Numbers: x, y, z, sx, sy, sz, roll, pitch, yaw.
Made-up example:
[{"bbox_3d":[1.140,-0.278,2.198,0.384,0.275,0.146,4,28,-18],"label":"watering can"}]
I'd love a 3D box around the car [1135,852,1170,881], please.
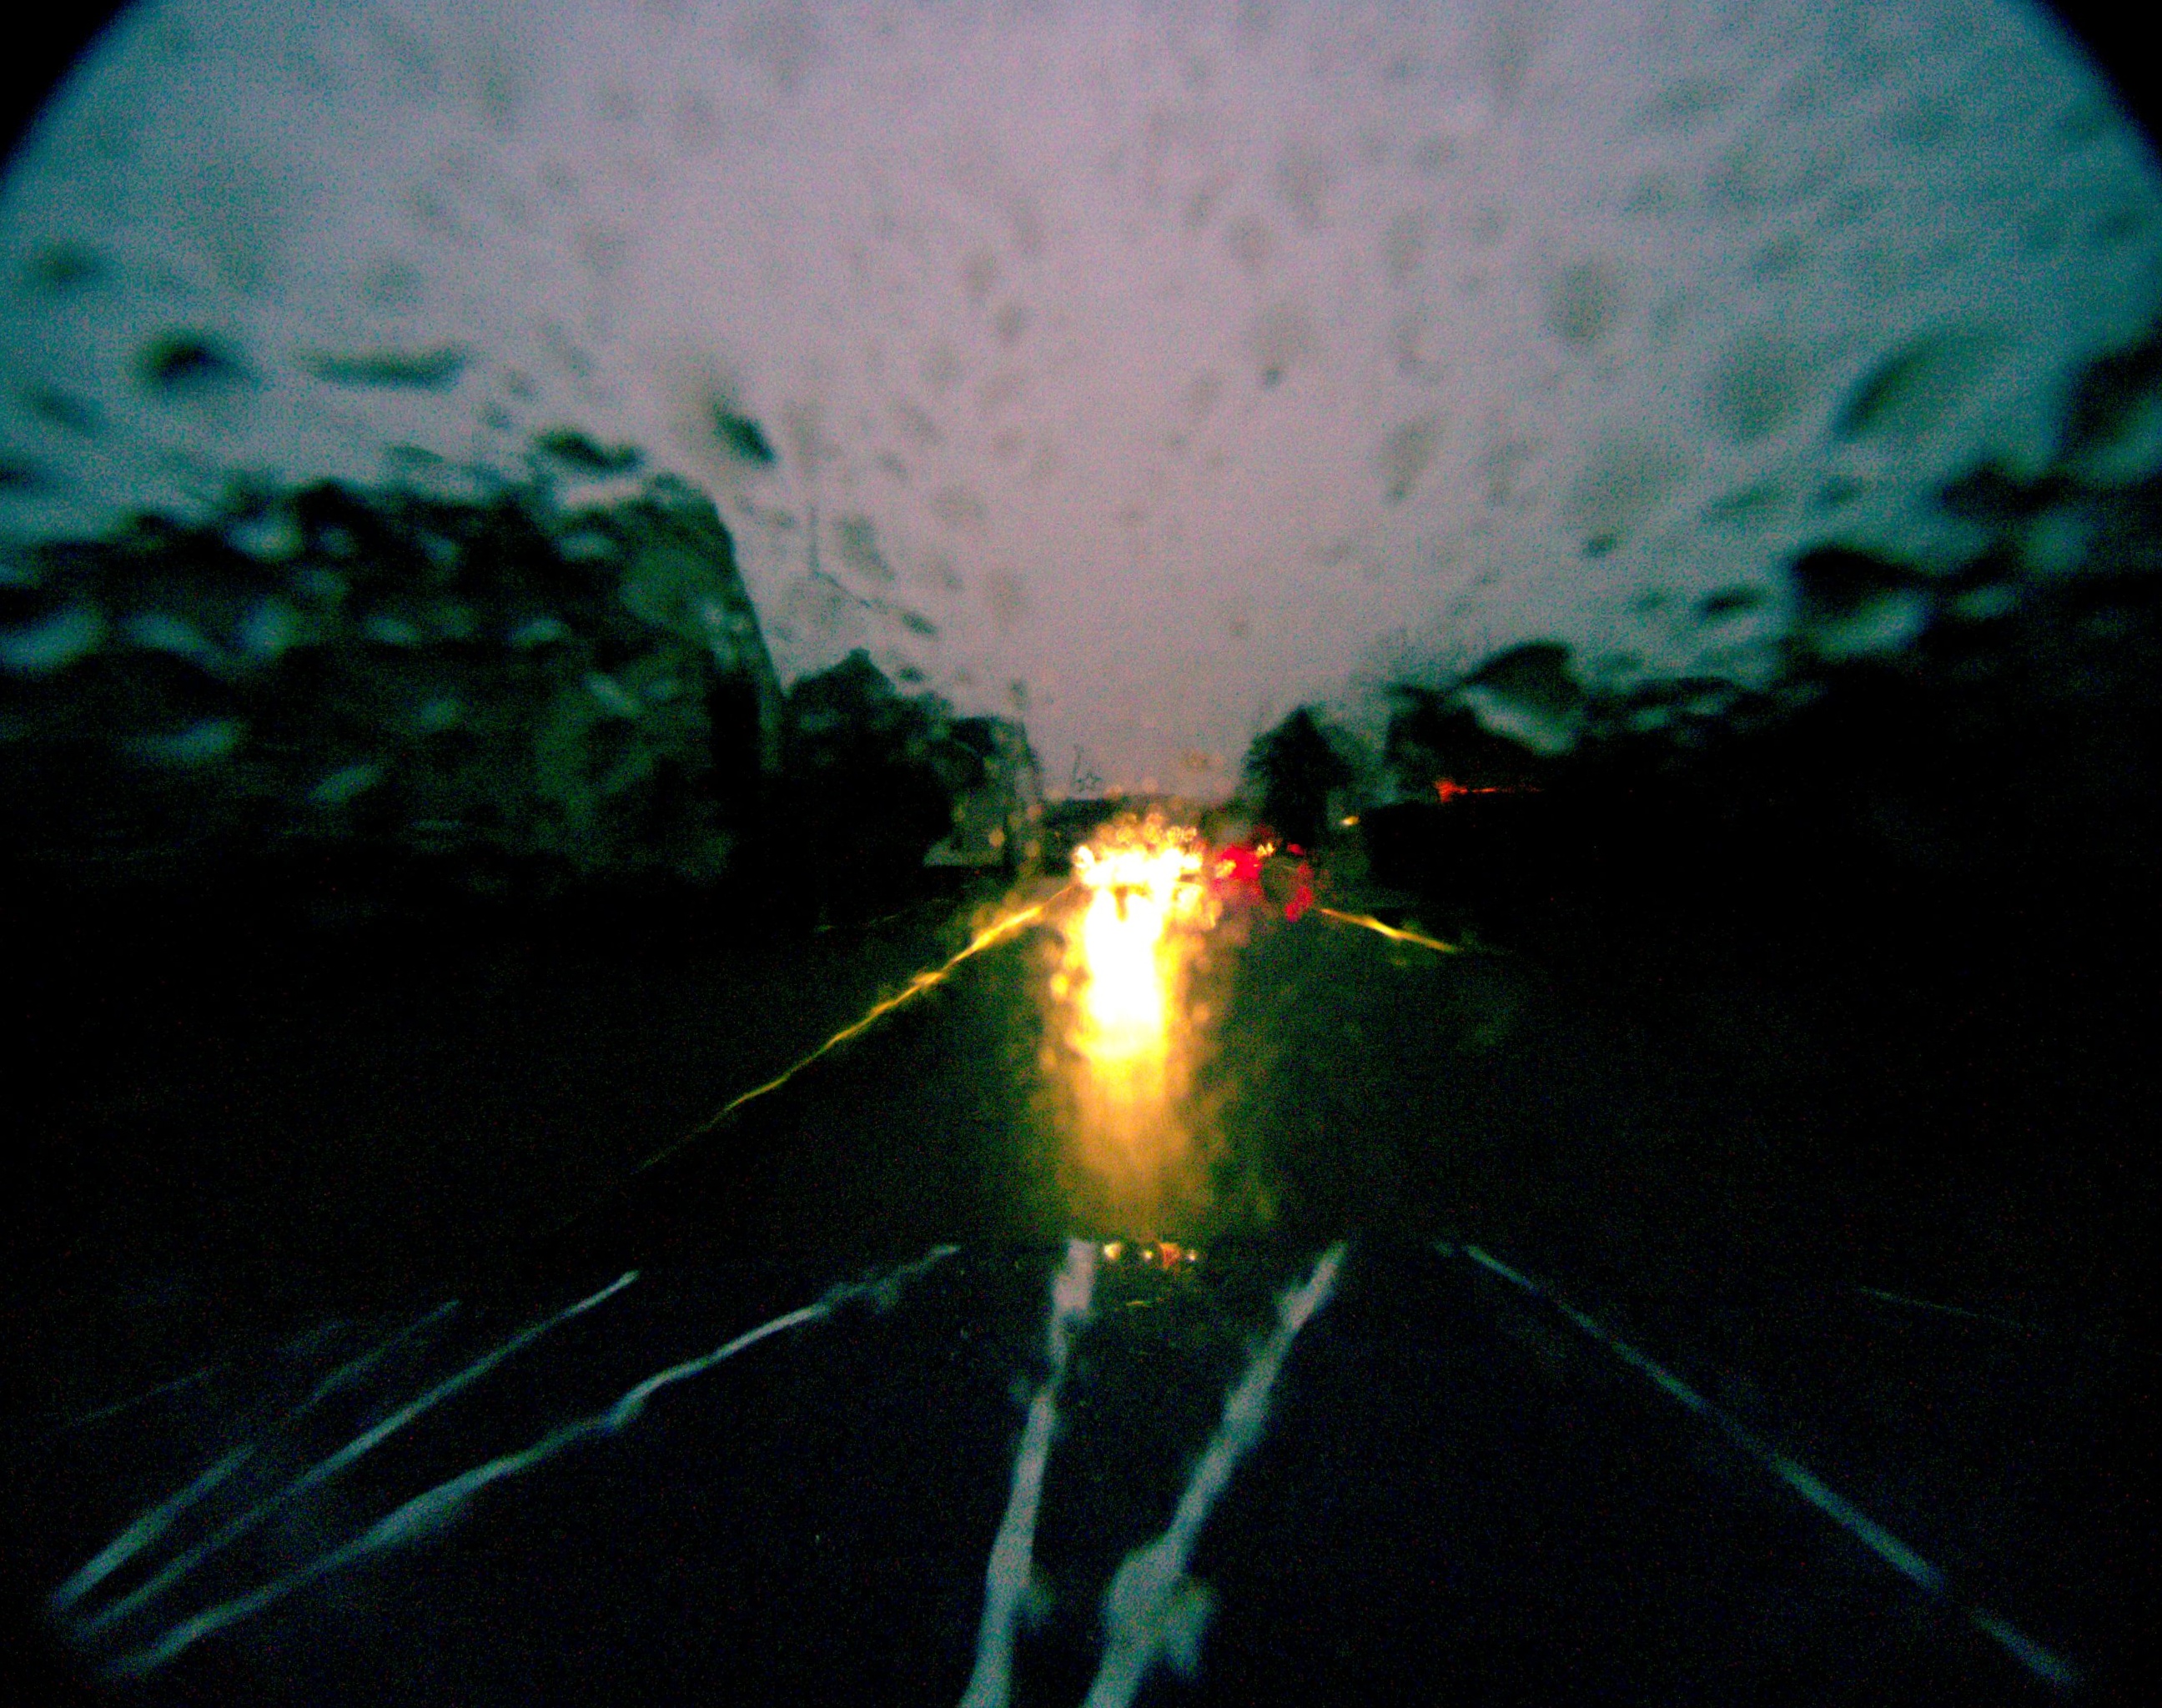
[{"bbox_3d":[4.557,0.760,47.916,1.997,1.660,4.002,-1,0,8],"label":"car"}]

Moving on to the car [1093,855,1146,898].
[{"bbox_3d":[1.614,0.858,30.794,1.998,1.575,4.001,0,0,4],"label":"car"}]

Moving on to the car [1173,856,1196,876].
[{"bbox_3d":[9.542,1.067,69.900,1.774,1.608,3.875,-2,1,11],"label":"car"}]

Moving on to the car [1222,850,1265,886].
[{"bbox_3d":[8.580,0.713,40.412,1.966,1.688,4.002,-2,1,9],"label":"car"}]
